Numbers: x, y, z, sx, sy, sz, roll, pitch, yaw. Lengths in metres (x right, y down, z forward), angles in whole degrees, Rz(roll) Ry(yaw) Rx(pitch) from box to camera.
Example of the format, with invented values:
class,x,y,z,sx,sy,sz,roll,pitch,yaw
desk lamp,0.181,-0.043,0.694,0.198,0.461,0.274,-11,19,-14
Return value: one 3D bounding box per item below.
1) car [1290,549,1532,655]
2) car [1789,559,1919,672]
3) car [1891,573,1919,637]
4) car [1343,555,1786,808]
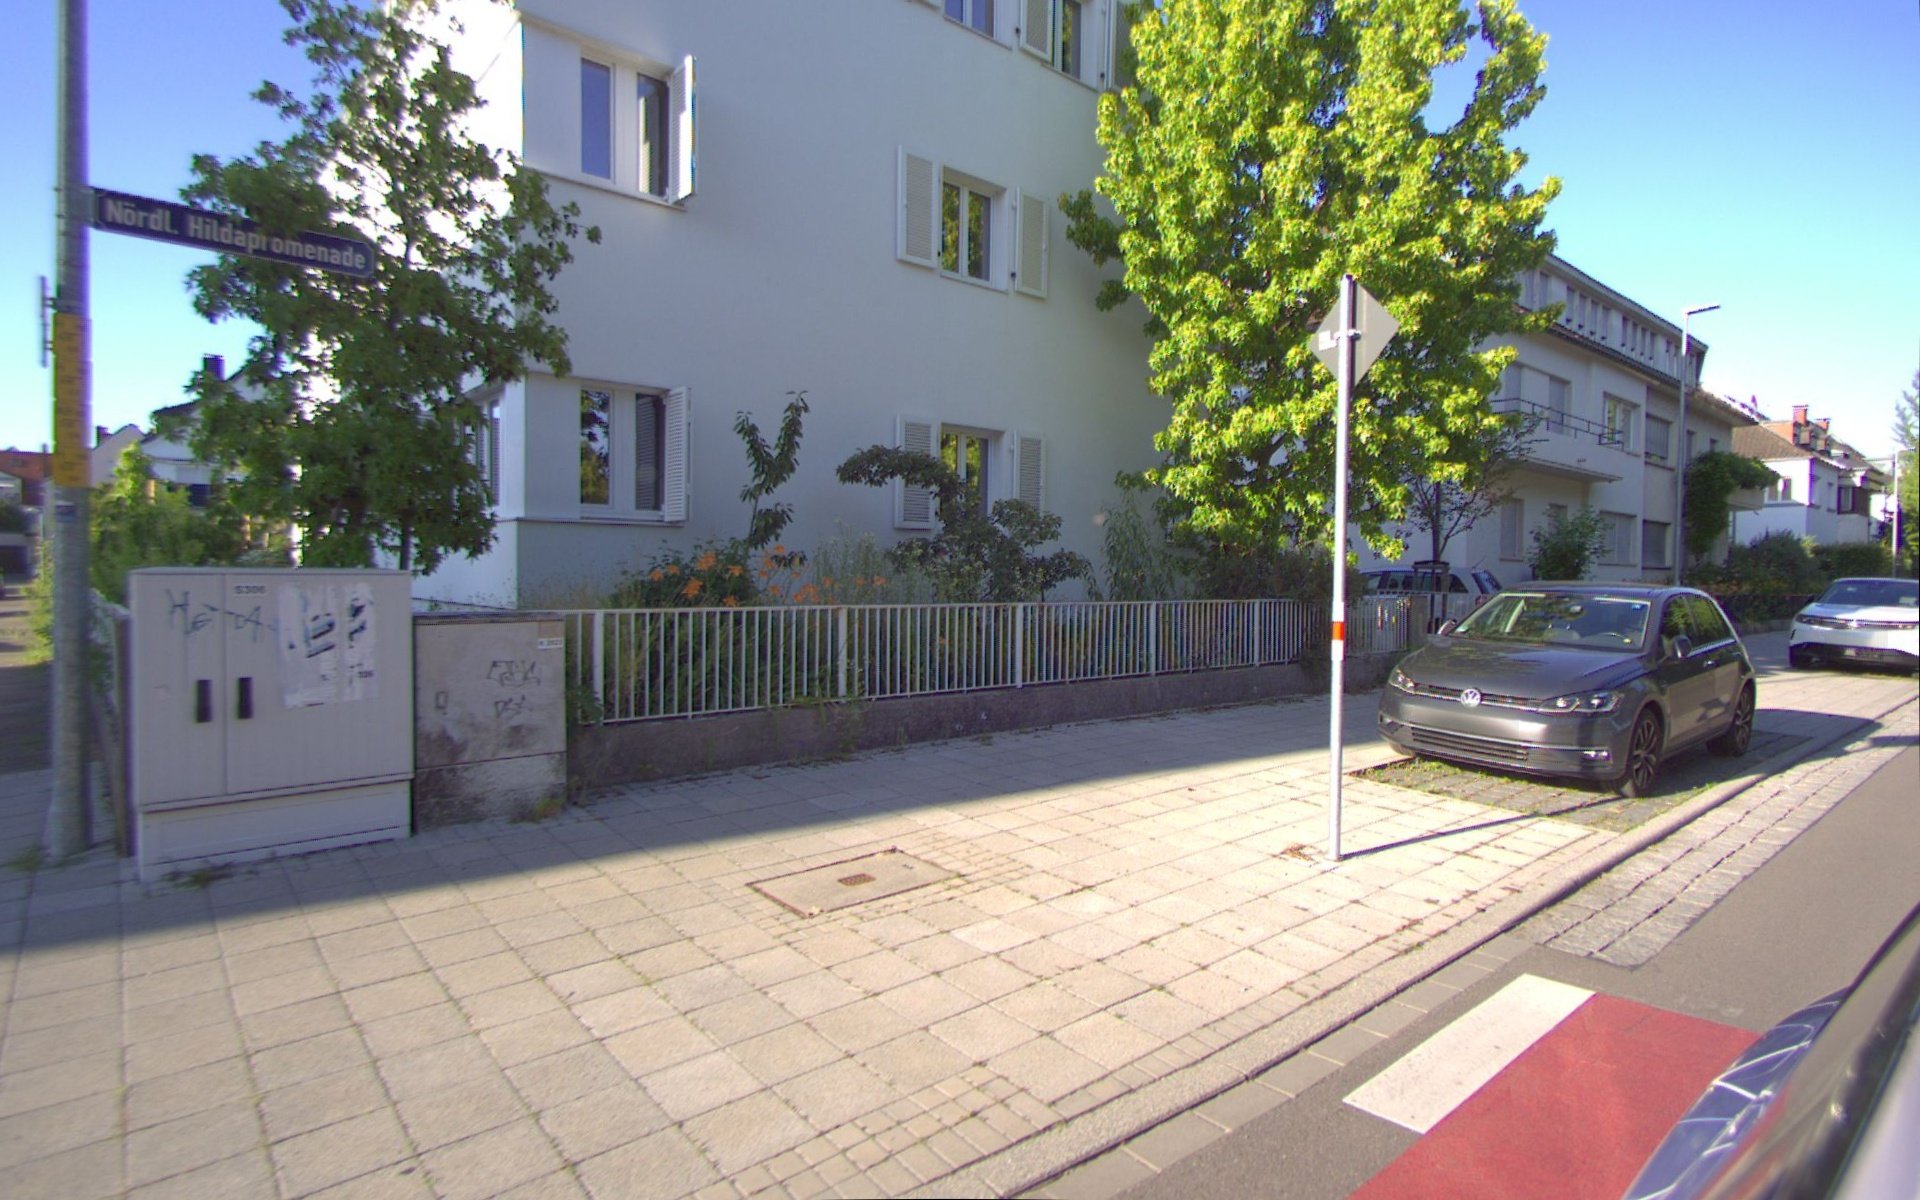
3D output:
class,x,y,z,sx,sy,sz,roll,pitch,yaw
car,8.768,0.046,19.890,3.983,1.868,1.786,0,-1,45
car,16.515,0.210,17.932,4.493,1.729,1.911,0,3,-39
car,24.776,0.125,25.236,4.121,1.512,1.798,-1,4,-41
car,5.040,0.476,8.225,4.050,1.500,1.799,0,4,-40
